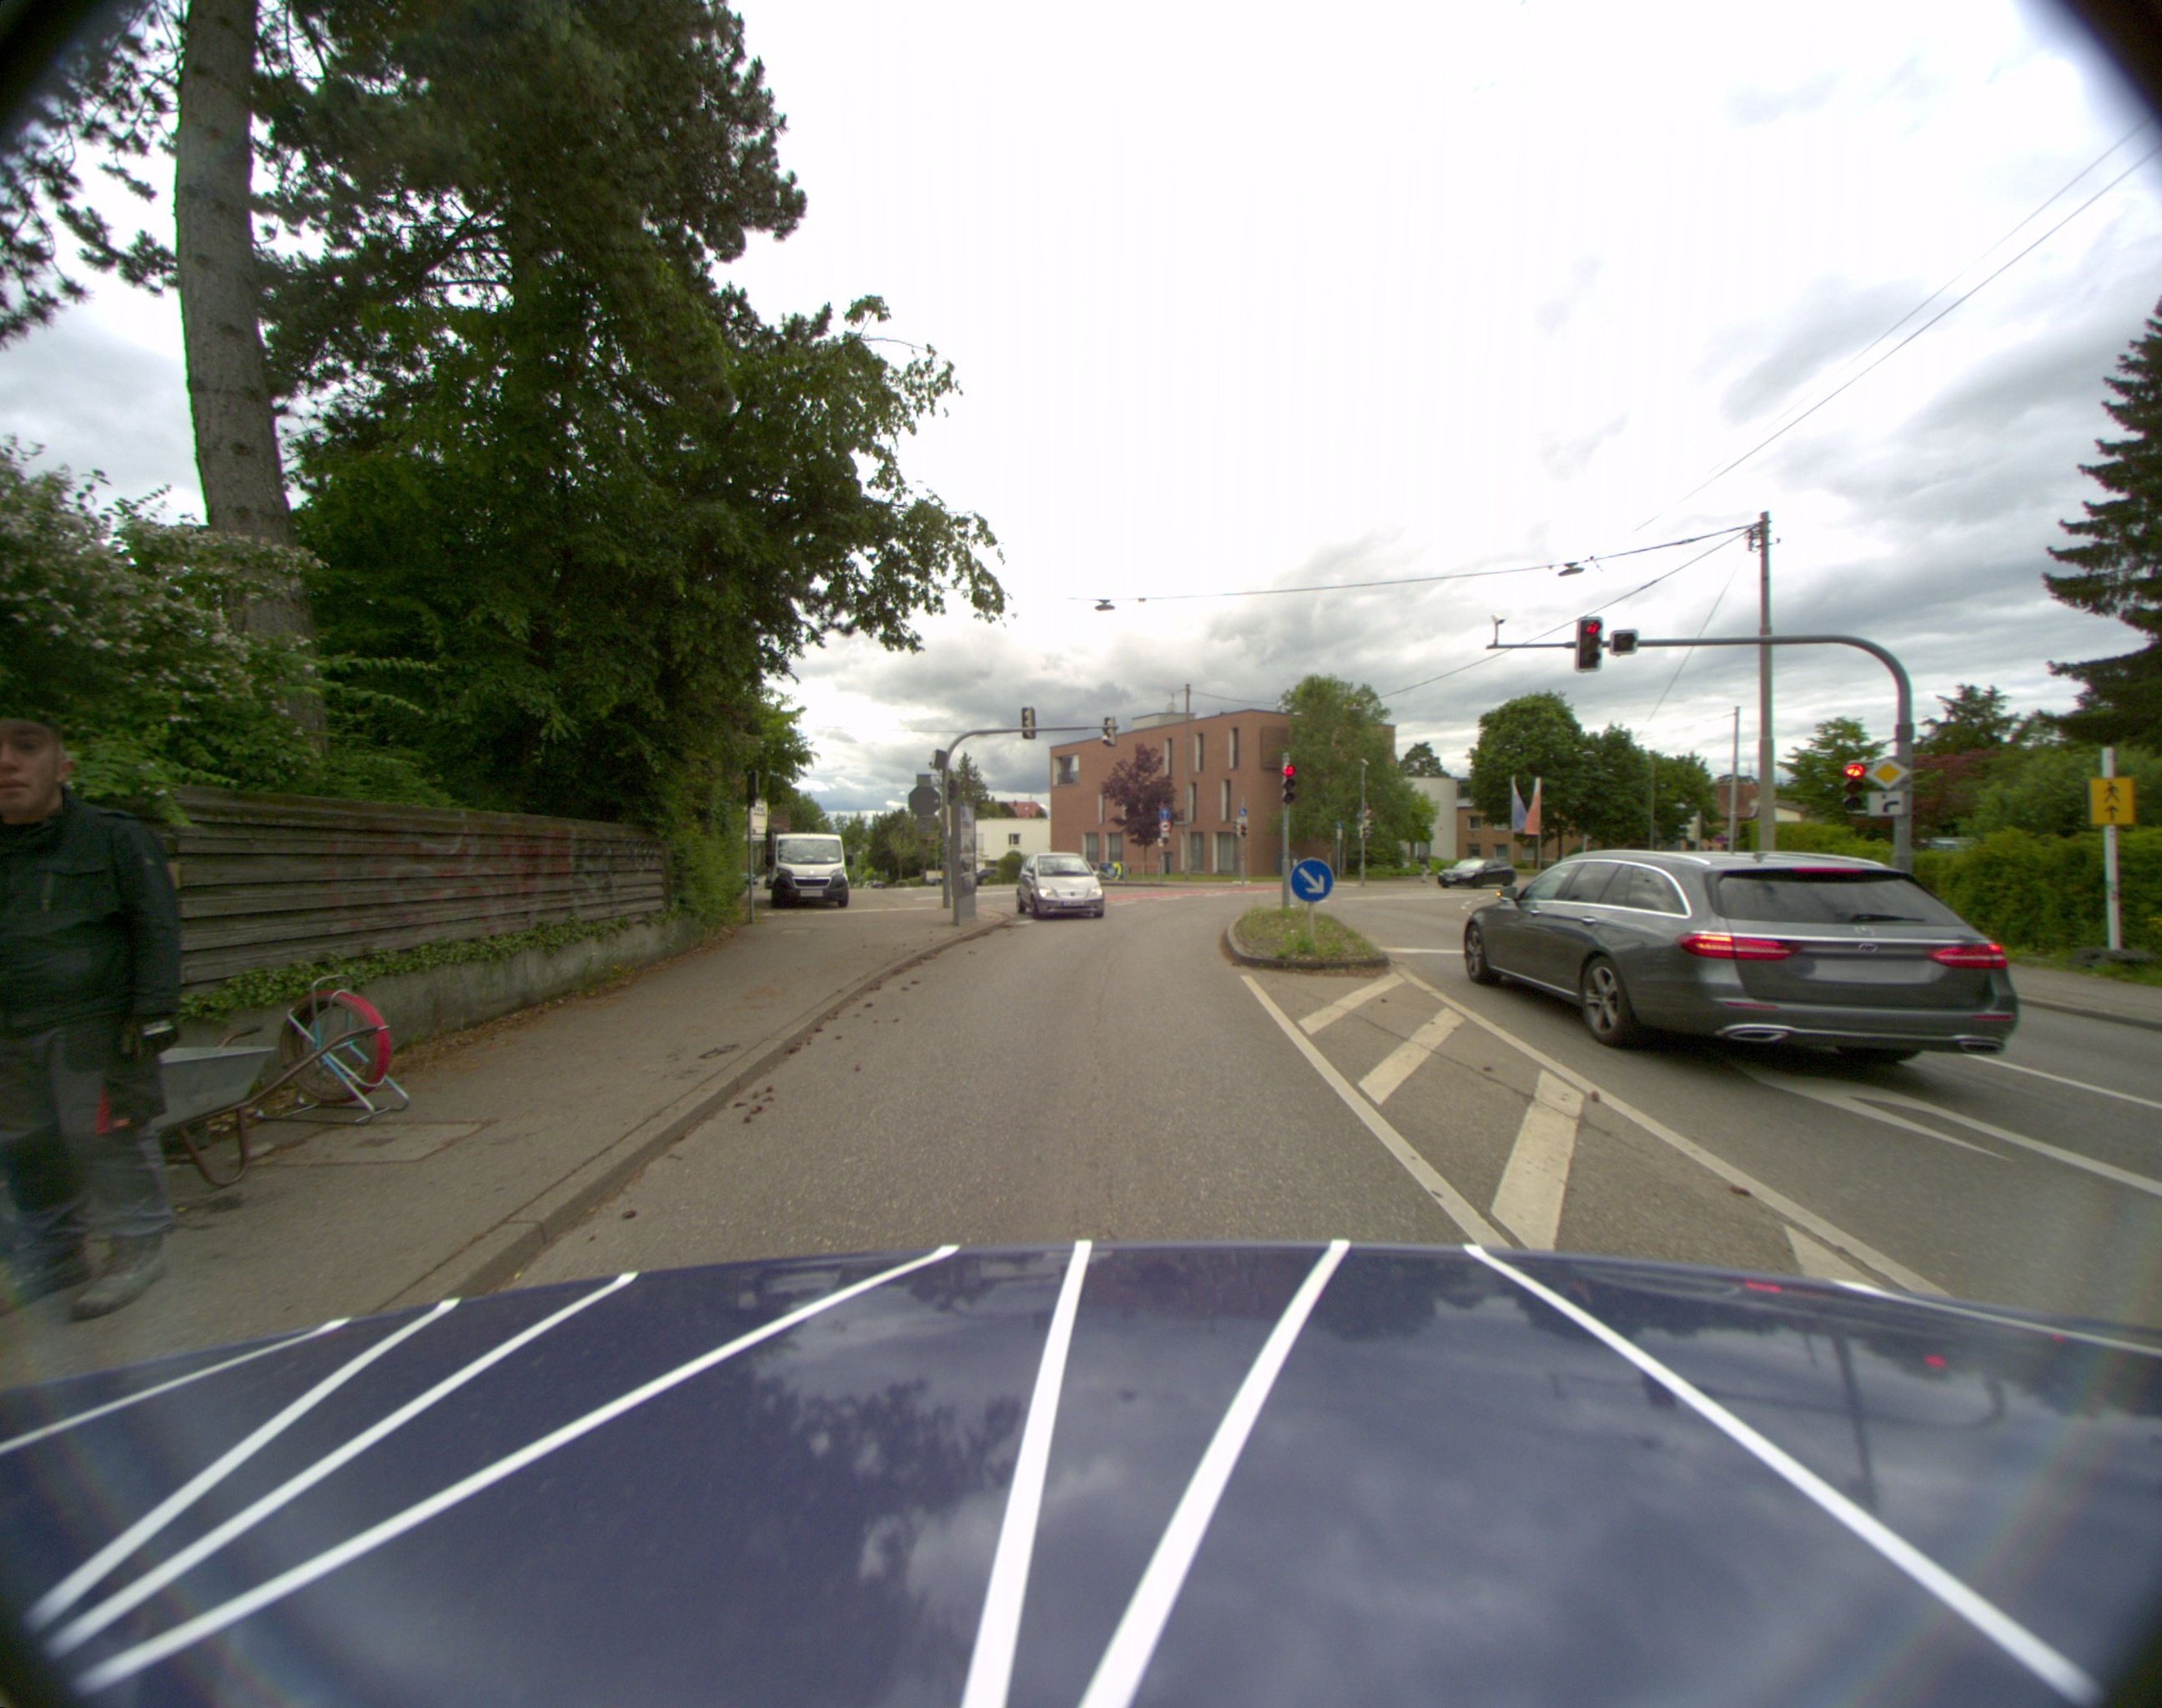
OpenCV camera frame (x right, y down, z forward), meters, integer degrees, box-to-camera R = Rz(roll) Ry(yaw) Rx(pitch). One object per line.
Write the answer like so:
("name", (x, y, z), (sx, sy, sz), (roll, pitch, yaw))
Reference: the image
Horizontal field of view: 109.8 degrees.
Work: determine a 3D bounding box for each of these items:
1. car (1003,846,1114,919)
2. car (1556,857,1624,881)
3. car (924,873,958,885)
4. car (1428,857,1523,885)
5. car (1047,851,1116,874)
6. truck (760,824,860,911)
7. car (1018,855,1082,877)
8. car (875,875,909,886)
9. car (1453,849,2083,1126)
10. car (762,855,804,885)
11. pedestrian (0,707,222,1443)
("car", (-0.691, 0.638, 19.117), (2.001, 1.586, 3.995), (-2, 0, -13))
("car", (29.166, 0.826, 43.477), (4.007, 1.193, 1.994), (-2, 2, -37))
("car", (-20.531, 3.673, 111.389), (4.442, 1.549, 1.996), (0, 0, -26))
("car", (19.122, 0.792, 36.850), (4.004, 1.237, 1.996), (-1, 0, -23))
("car", (0.022, 0.562, 53.434), (4.442, 1.549, 1.996), (0, 0, -26))
("truck", (-8.596, 0.357, 23.689), (2.407, 2.338, 6.176), (-1, 0, -24))
("car", (-2.340, 0.883, 57.262), (4.442, 1.549, 1.996), (0, 0, -26))
("car", (-27.229, 3.787, 109.623), (4.442, 1.549, 1.996), (0, 0, -26))
("car", (4.905, 0.714, 6.573), (1.828, 1.476, 4.752), (1, 0, 11))
("car", (-16.287, 0.904, 41.668), (1.877, 1.483, 3.878), (-1, -2, -18))
("pedestrian", (-3.341, 0.579, 2.181), (0.849, 1.912, 0.800), (-1, 1, -21))
